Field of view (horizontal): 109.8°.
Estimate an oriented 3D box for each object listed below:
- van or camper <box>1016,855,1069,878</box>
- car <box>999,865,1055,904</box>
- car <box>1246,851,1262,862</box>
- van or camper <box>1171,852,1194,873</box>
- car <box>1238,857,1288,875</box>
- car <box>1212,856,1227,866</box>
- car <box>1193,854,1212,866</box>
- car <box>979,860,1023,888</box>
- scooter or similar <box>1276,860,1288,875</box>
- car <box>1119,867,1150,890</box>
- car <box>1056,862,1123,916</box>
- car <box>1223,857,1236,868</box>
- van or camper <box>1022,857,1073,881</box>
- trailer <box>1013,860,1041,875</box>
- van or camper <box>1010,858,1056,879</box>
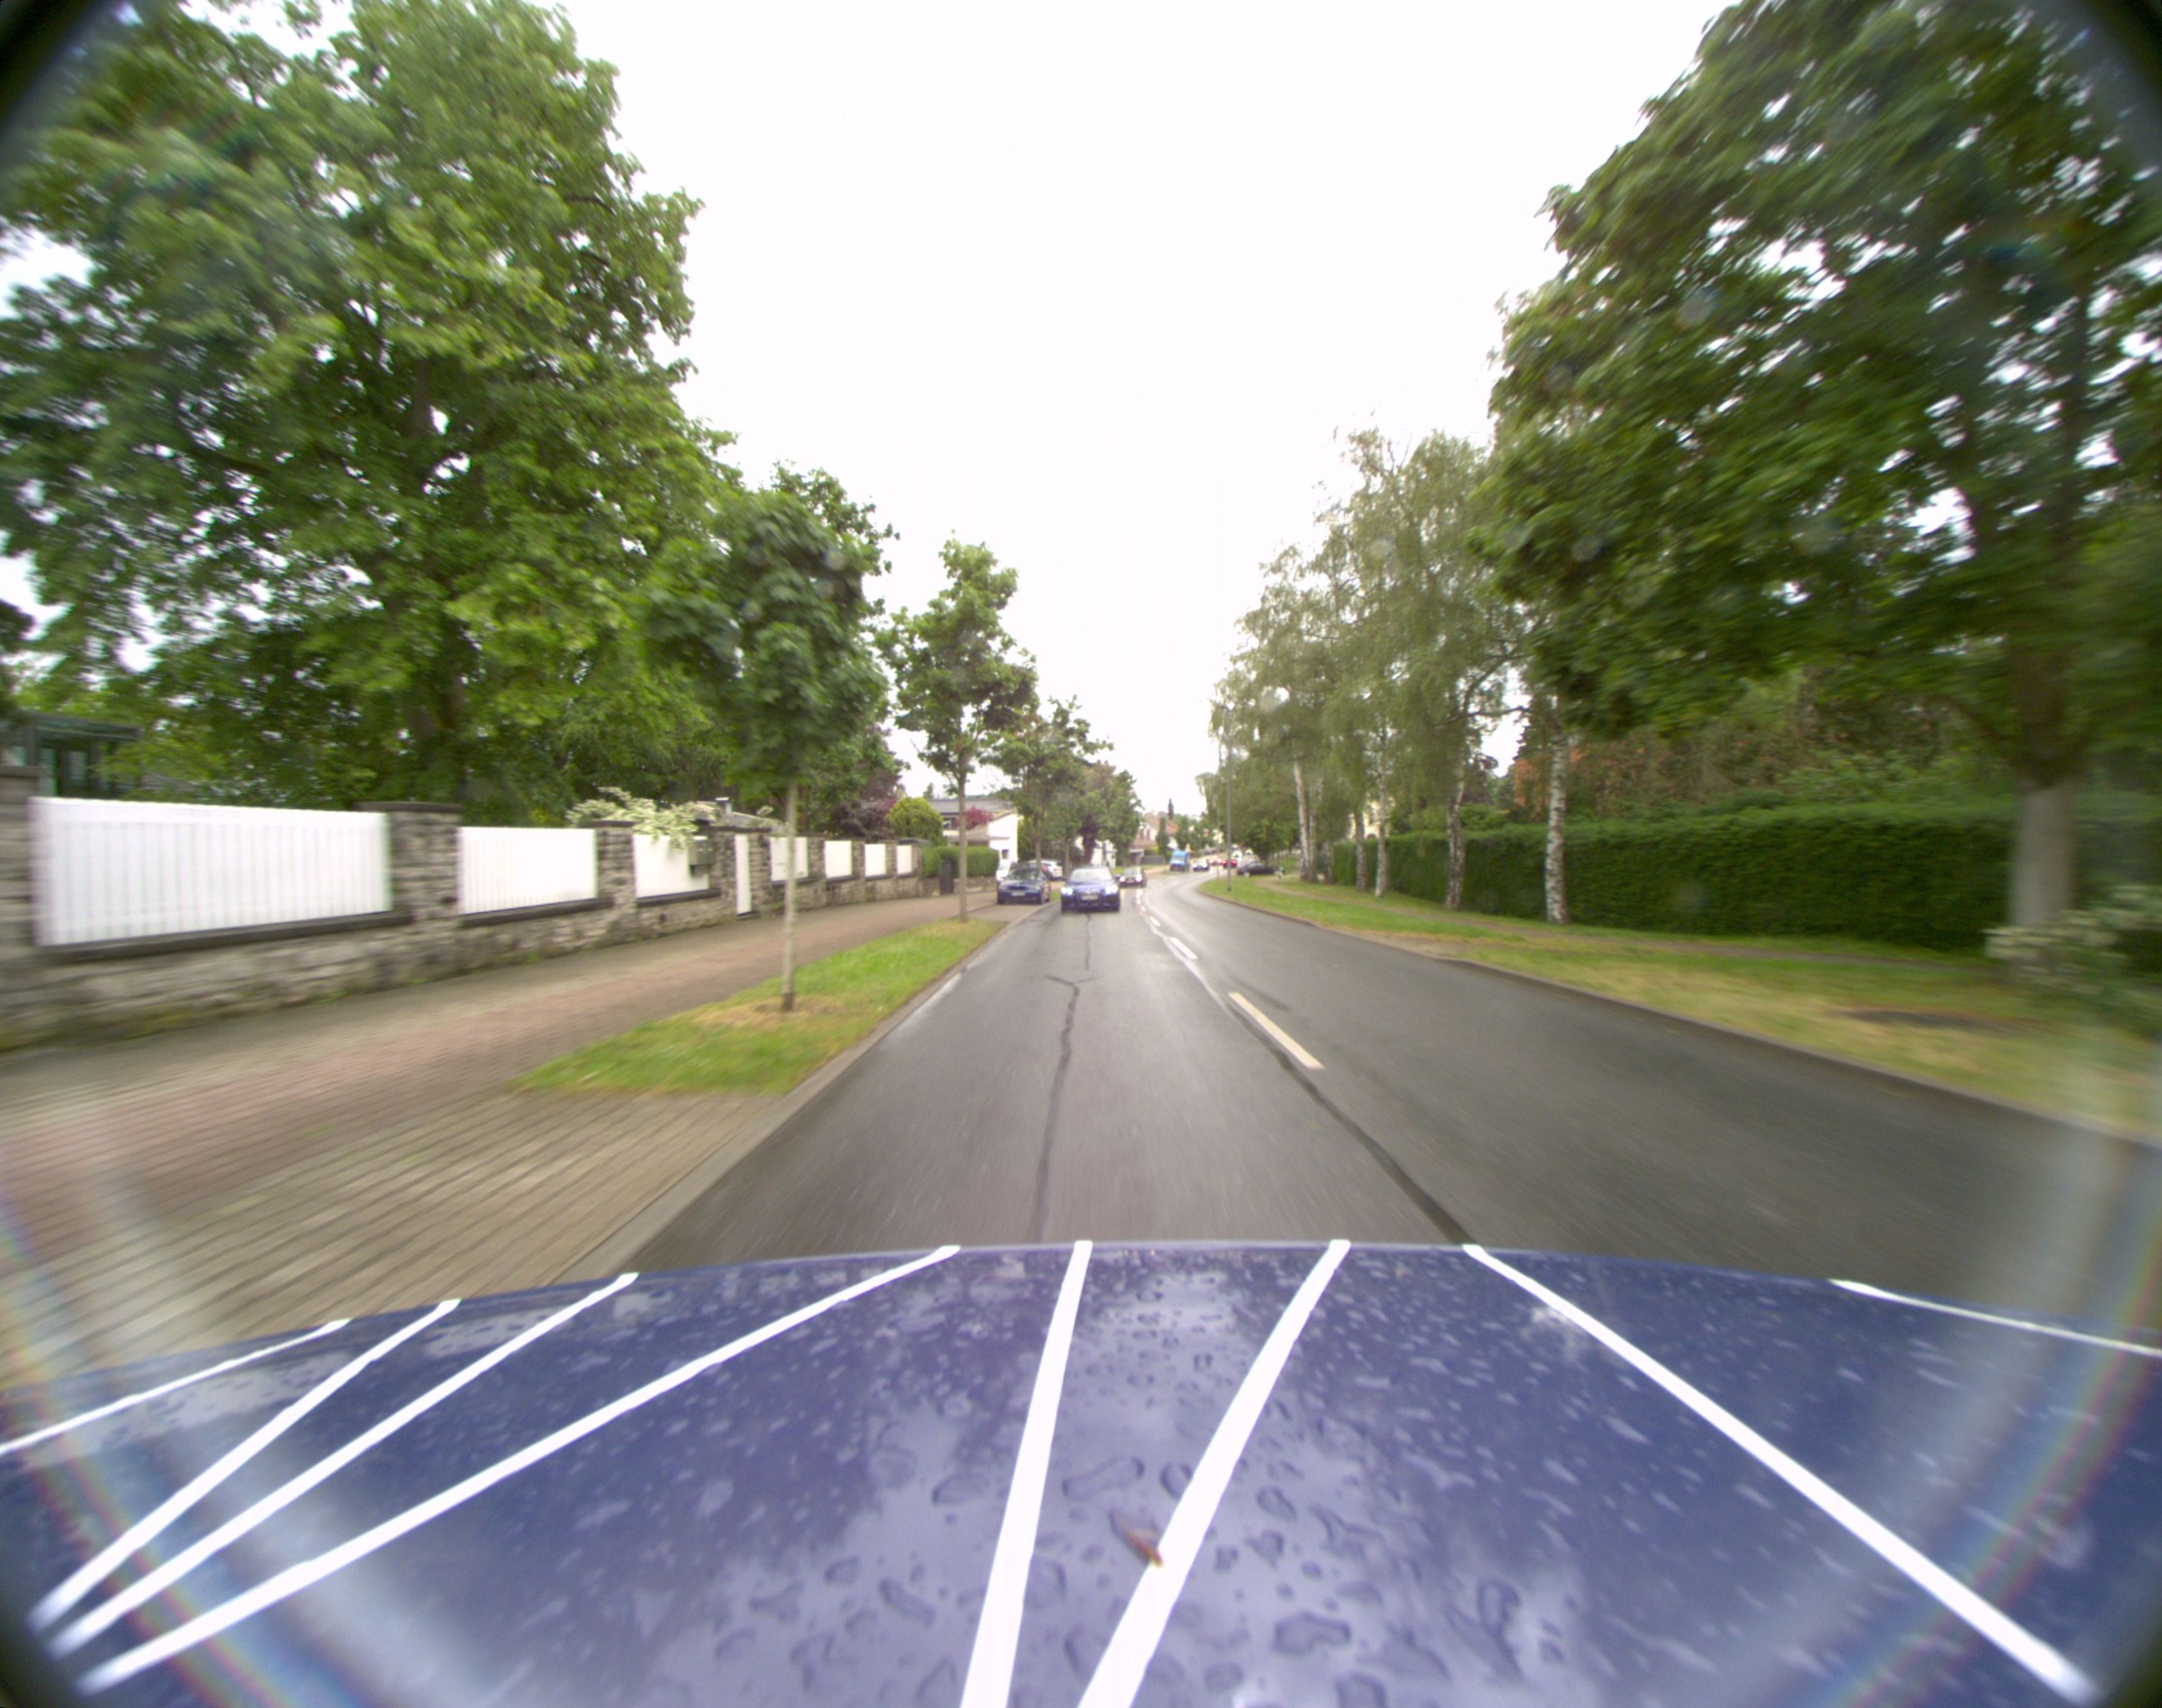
[{"bbox_3d":[-3.276,1.046,64.869,3.993,1.668,2.125,3,1,12],"label":"van or camper"},{"bbox_3d":[-2.053,1.159,29.864,1.645,1.369,3.830,1,0,4],"label":"car"},{"bbox_3d":[25.676,0.378,112.706,1.773,1.597,4.005,0,1,19],"label":"car"},{"bbox_3d":[13.799,1.122,102.777,2.146,2.594,5.788,1,1,17],"label":"van or camper"},{"bbox_3d":[17.176,1.111,71.827,4.434,1.409,1.758,-4,0,16],"label":"car"},{"bbox_3d":[22.131,1.055,121.238,1.893,1.531,4.005,-2,0,17],"label":"car"},{"bbox_3d":[16.324,0.782,102.039,1.893,1.531,4.005,-2,0,18],"label":"car"},{"bbox_3d":[-5.229,1.301,50.300,1.797,1.747,4.946,0,0,8],"label":"car"},{"bbox_3d":[16.176,1.068,61.084,0.424,1.151,1.493,-3,-1,36],"label":"scooter or similar"},{"bbox_3d":[3.958,1.748,55.594,1.845,1.531,4.003,-2,0,9],"label":"car"},{"bbox_3d":[0.367,1.077,24.875,1.895,1.531,4.001,-2,0,4],"label":"car"},{"bbox_3d":[21.320,1.199,109.085,1.758,1.432,4.161,-2,-1,9],"label":"car"},{"bbox_3d":[-2.955,1.302,67.058,4.018,1.778,1.950,3,1,15],"label":"van or camper"},{"bbox_3d":[-4.131,1.040,58.354,1.422,0.916,3.276,7,2,7],"label":"trailer"},{"bbox_3d":[-3.887,1.194,61.557,3.408,1.546,1.770,2,1,7],"label":"van or camper"}]
